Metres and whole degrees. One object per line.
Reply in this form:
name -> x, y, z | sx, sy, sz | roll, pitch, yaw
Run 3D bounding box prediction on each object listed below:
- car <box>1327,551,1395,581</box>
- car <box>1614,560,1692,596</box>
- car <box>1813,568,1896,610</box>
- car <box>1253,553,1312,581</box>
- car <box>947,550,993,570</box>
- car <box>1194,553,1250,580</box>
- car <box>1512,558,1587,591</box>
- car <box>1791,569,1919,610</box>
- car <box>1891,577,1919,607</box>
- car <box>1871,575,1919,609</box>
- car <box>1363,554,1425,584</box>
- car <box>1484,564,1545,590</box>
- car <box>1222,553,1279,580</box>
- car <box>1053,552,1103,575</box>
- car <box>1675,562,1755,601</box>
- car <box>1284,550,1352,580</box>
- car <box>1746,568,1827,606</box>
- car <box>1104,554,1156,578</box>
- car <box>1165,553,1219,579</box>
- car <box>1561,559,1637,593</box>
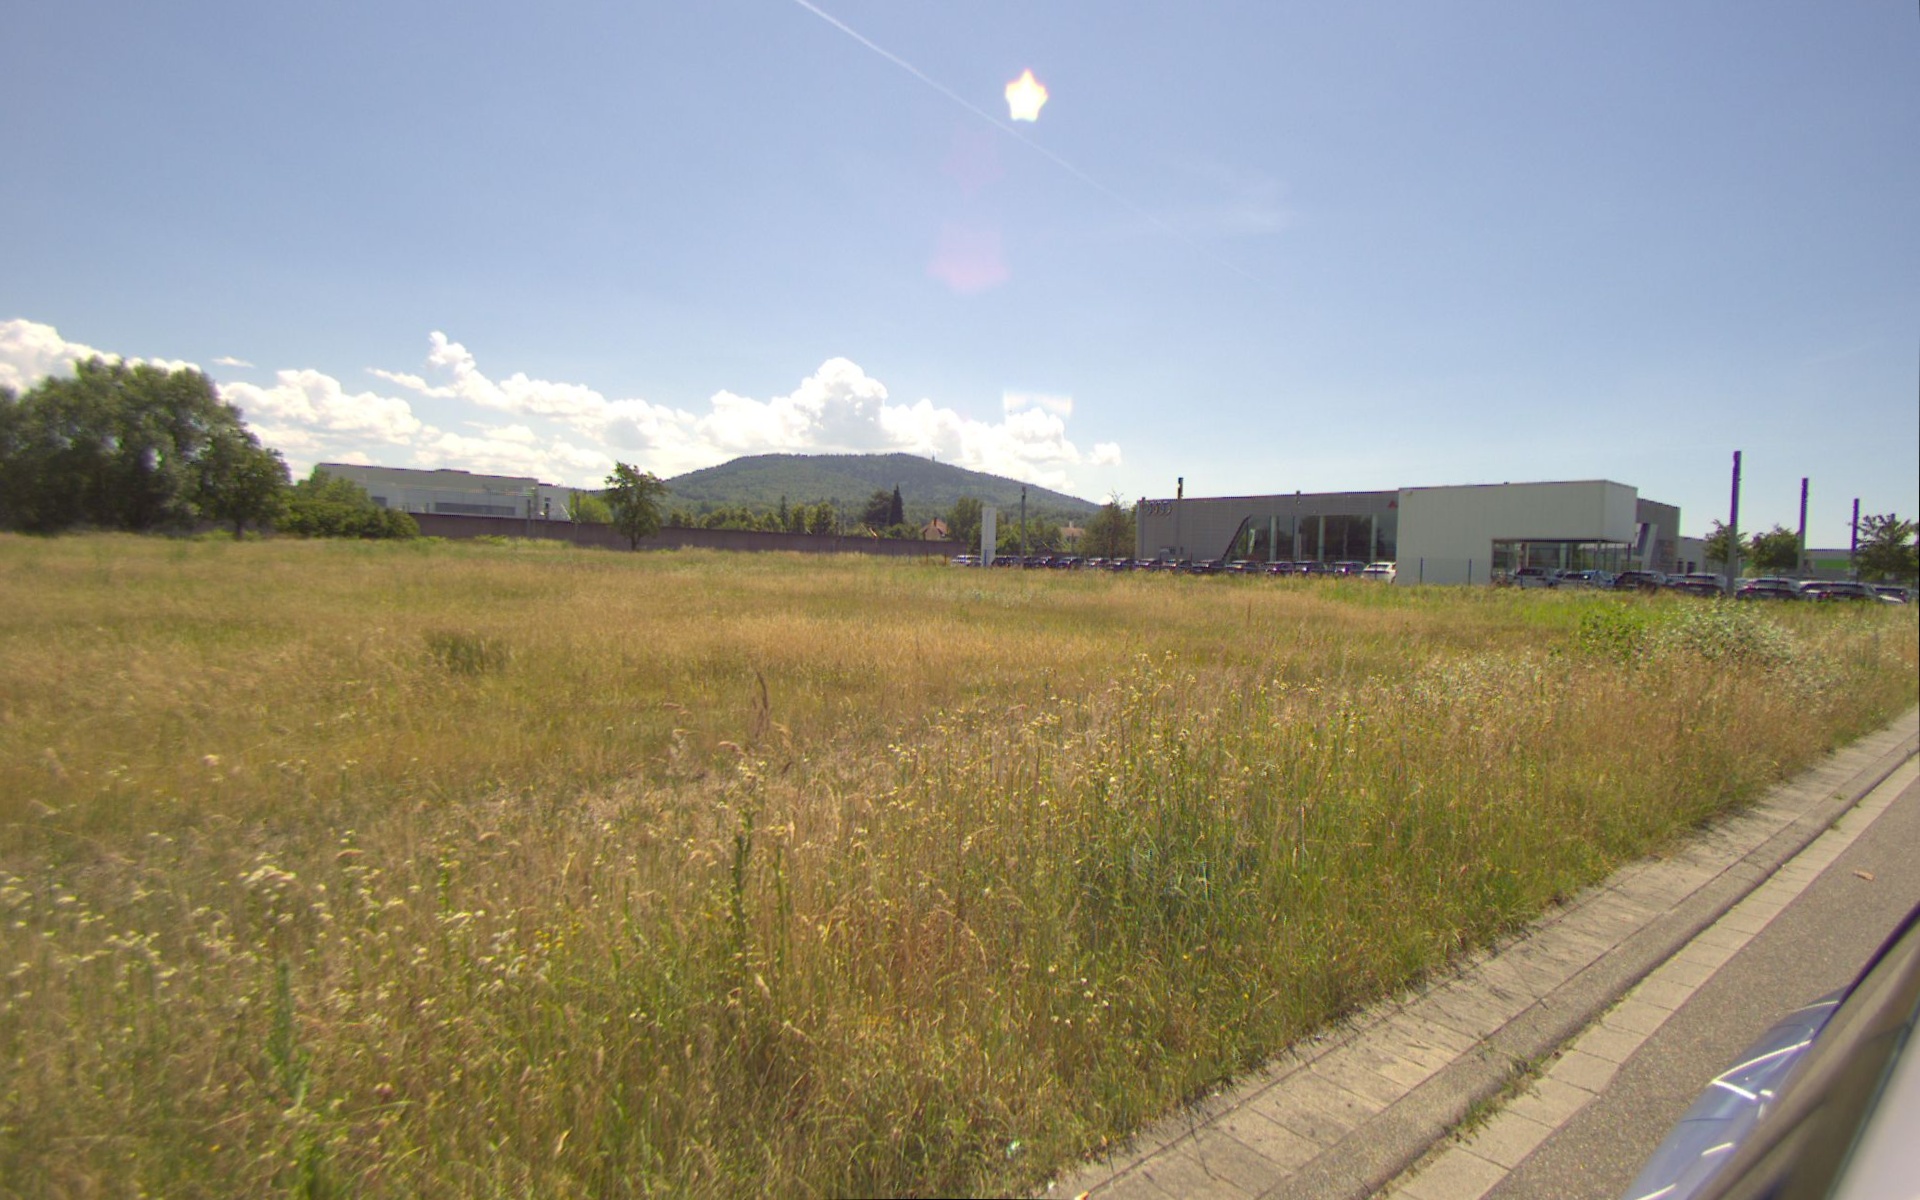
car -> 25.909, -2.193, 65.339 | 4.722, 1.746, 2.030 | 0, 4, -39
car -> 36.111, -1.120, 52.704 | 4.722, 1.700, 2.030 | 0, 4, -39
car -> 41.320, -0.498, 46.692 | 5.016, 1.713, 2.030 | 0, 4, -39
car -> 22.069, -2.256, 69.199 | 3.930, 1.807, 1.998 | 0, 3, -41
car -> 0.933, -3.741, 94.687 | 3.930, 1.807, 1.998 | 0, 3, -41
car -> 18.946, -2.433, 73.100 | 3.930, 1.807, 1.998 | 0, 3, -41
car -> 33.109, -1.413, 56.815 | 4.722, 1.674, 2.030 | 0, 4, -39
car -> 43.995, -0.544, 49.722 | 1.995, 1.713, 4.541 | 0, 4, -39
car -> 54.250, -0.387, 56.961 | 5.147, 1.532, 2.030 | 0, 5, -41
car -> 50.146, -0.421, 53.678 | 4.695, 1.592, 2.030 | 0, 4, -41
car -> 27.059, -1.921, 63.092 | 3.930, 1.807, 1.998 | 0, 3, -41
car -> 37.049, -1.517, 67.540 | 4.695, 1.609, 2.029 | 0, 3, -41
car -> 20.461, -2.342, 71.241 | 3.930, 1.807, 1.998 | 0, 3, -41
car -> 9.813, -3.001, 84.113 | 3.930, 1.807, 1.998 | 0, 3, -41
car -> 37.731, -0.904, 50.542 | 4.722, 1.746, 2.030 | 0, 4, -39
car -> 23.820, -2.312, 67.324 | 4.722, 1.746, 2.030 | 0, 4, -39
car -> 39.669, -0.629, 48.536 | 4.722, 1.630, 2.030 | 0, 4, -39
car -> 13.425, -2.669, 79.905 | 3.930, 1.807, 1.998 | 0, 3, -41
car -> 17.221, -2.525, 75.056 | 3.930, 1.807, 1.998 | 0, 3, -41
car -> 34.665, -1.269, 54.825 | 4.722, 1.674, 2.030 | 0, 4, -39
